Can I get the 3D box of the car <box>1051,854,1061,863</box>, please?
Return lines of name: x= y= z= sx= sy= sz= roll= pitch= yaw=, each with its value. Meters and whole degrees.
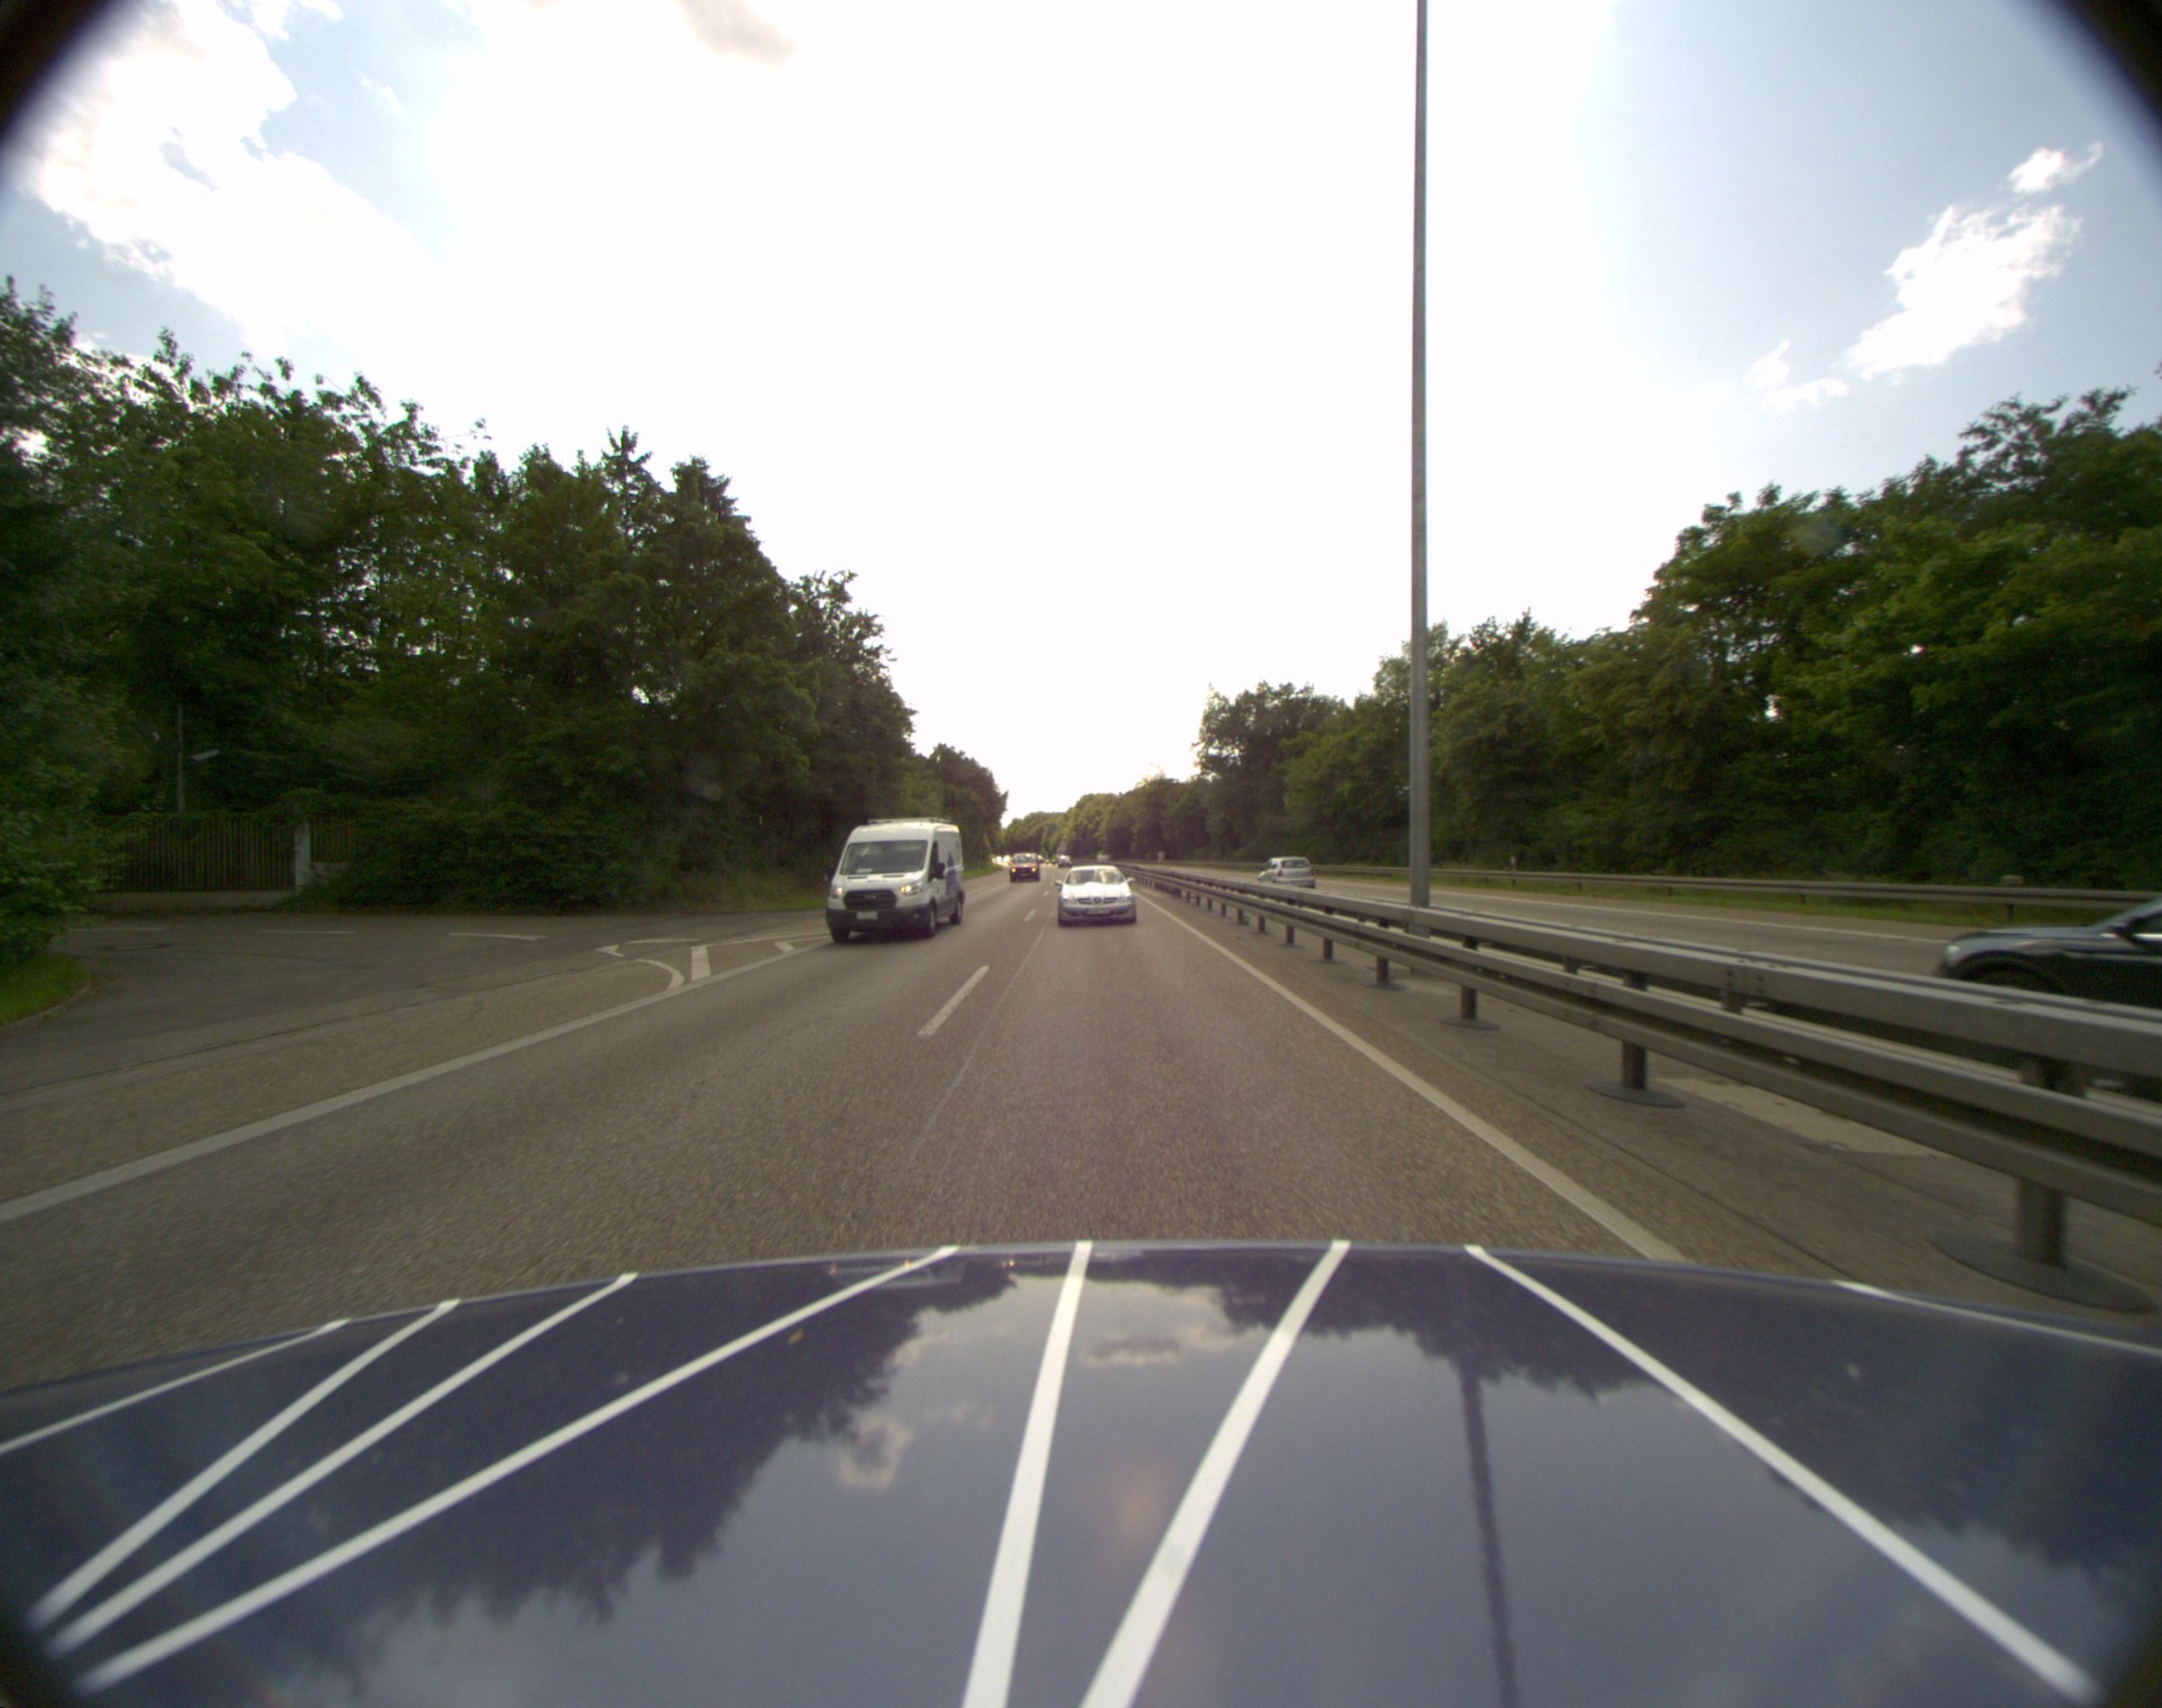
car: x=-4.286 y=0.752 z=130.393 sx=1.473 sy=1.560 sz=3.293 roll=-1 pitch=0 yaw=-4

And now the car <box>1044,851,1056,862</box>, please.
car: x=-5.983 y=0.457 z=147.430 sx=2.000 sy=2.002 sz=3.997 roll=-1 pitch=0 yaw=-7

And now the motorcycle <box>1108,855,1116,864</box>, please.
motorcycle: x=4.301 y=0.724 z=105.908 sx=1.002 sy=1.194 sz=2.997 roll=-1 pitch=0 yaw=-1

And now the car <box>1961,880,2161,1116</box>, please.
car: x=8.172 y=1.003 z=4.206 sx=1.678 sy=1.542 sz=4.263 roll=-1 pitch=0 yaw=0

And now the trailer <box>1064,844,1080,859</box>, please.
trailer: x=-2.519 y=-0.841 z=214.823 sx=3.414 sy=4.056 sz=12.972 roll=-2 pitch=1 yaw=-5

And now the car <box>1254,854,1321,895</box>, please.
car: x=8.661 y=0.823 z=32.200 sx=1.710 sy=1.559 sz=4.031 roll=-1 pitch=0 yaw=0

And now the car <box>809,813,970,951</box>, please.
car: x=-3.956 y=0.508 z=16.802 sx=2.104 sy=2.493 sz=5.278 roll=-2 pitch=0 yaw=0

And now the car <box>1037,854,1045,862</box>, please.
car: x=-8.880 y=0.852 z=168.935 sx=1.700 sy=1.579 sz=3.998 roll=-1 pitch=0 yaw=-3

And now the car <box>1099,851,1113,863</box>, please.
car: x=4.128 y=0.464 z=126.375 sx=1.849 sy=1.808 sz=5.477 roll=-1 pitch=0 yaw=-2

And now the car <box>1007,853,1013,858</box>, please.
car: x=-21.557 y=0.511 z=230.802 sx=1.786 sy=1.513 sz=3.997 roll=-1 pitch=0 yaw=-7

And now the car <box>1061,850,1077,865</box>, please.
car: x=-1.602 y=0.463 z=102.443 sx=1.998 sy=2.002 sz=4.000 roll=-1 pitch=0 yaw=0

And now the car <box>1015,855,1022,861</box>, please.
car: x=-15.281 y=0.974 z=185.557 sx=1.786 sy=1.513 sz=3.998 roll=-1 pitch=0 yaw=-5

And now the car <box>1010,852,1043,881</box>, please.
car: x=-3.624 y=0.778 z=50.988 sx=1.908 sy=1.795 sz=4.394 roll=-2 pitch=0 yaw=-1

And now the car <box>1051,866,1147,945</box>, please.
car: x=0.372 y=1.006 z=16.744 sx=1.751 sy=1.295 sz=5.223 roll=-2 pitch=0 yaw=1

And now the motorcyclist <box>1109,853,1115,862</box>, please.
motorcyclist: x=4.275 y=0.538 z=105.903 sx=0.827 sy=1.219 sz=0.720 roll=-1 pitch=1 yaw=-1
